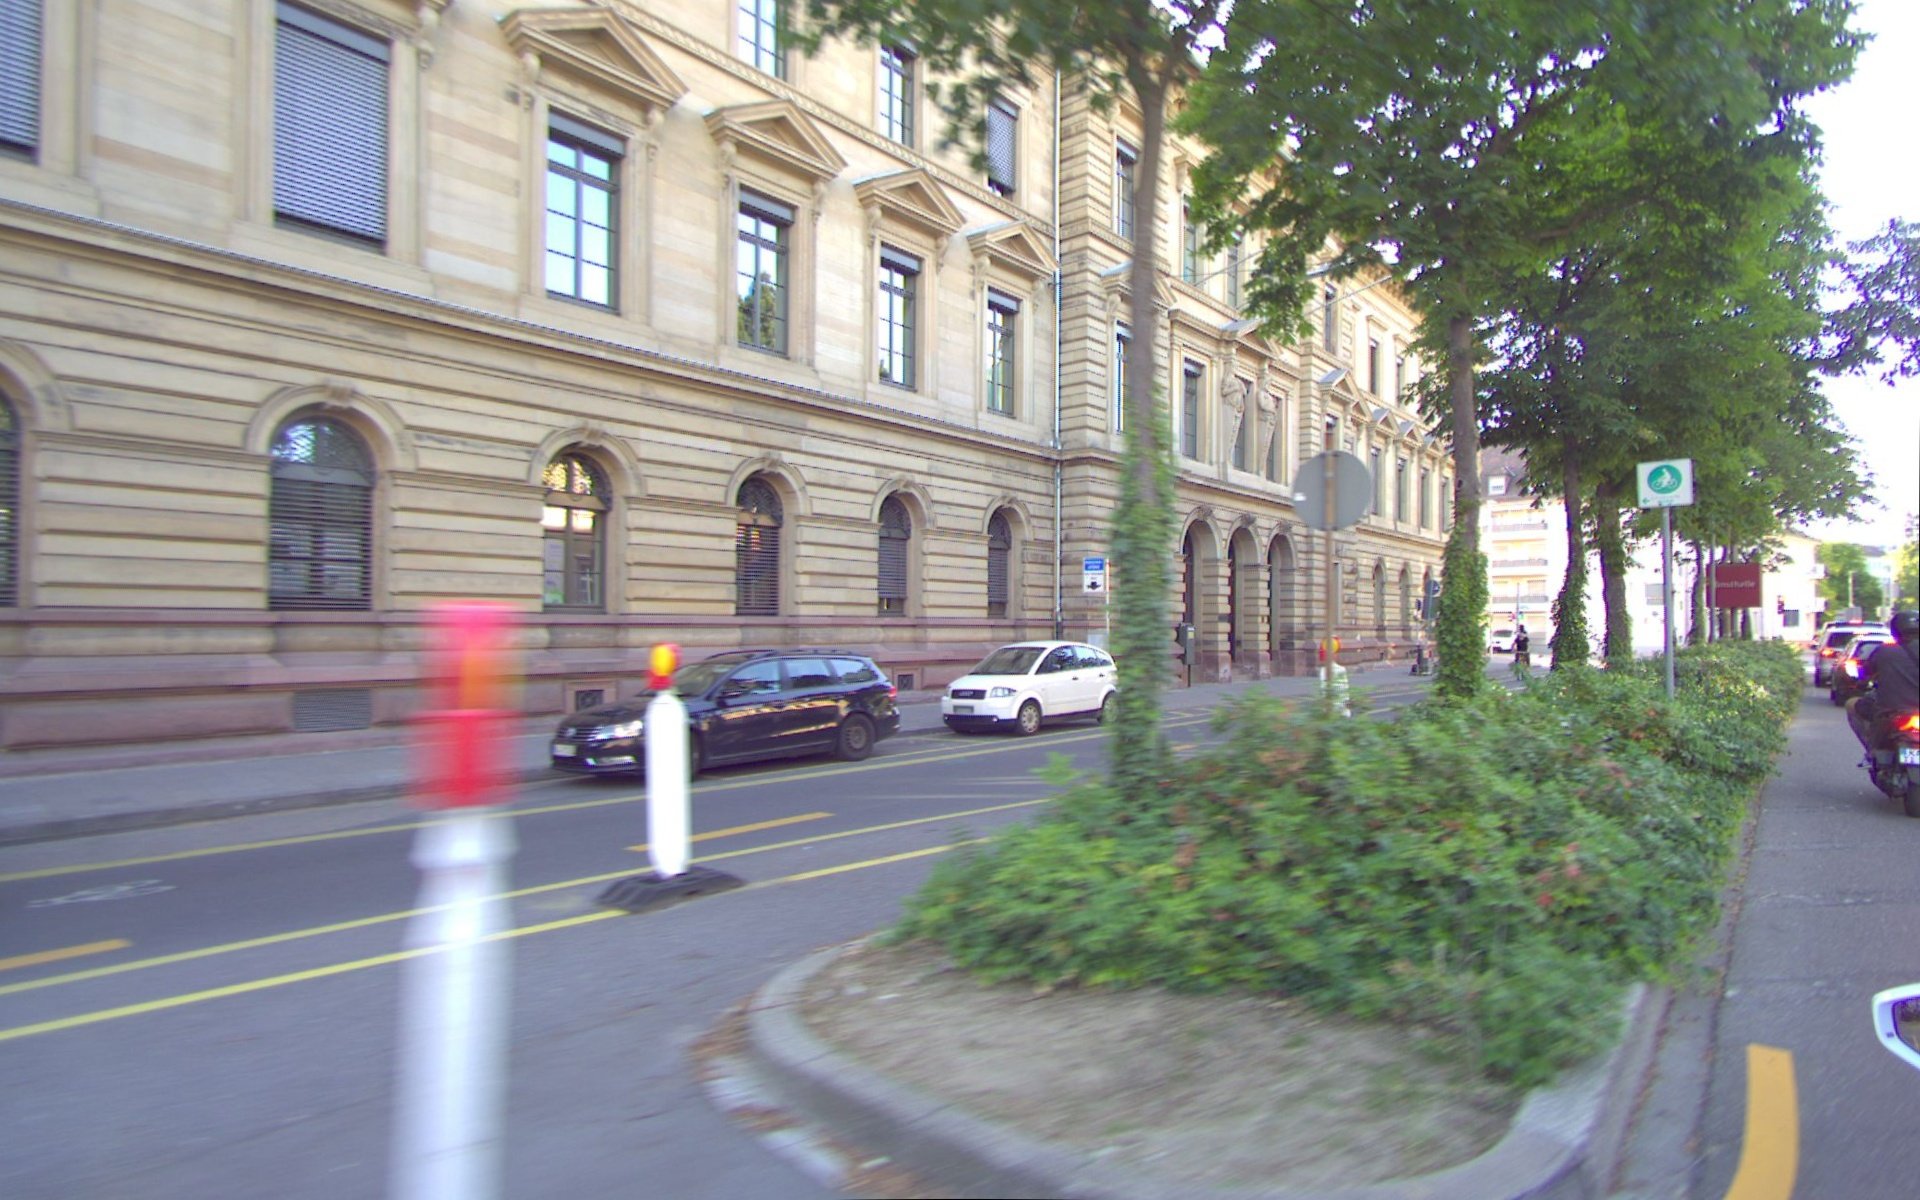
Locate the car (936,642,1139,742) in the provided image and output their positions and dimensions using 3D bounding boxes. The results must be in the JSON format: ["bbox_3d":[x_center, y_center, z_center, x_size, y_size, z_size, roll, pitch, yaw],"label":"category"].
[{"bbox_3d":[1.464,1.530,17.832,1.649,1.527,3.826,-1,-2,41],"label":"car"}]

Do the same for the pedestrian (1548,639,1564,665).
[{"bbox_3d":[37.260,3.243,62.831,0.813,1.605,0.625,1,1,-45],"label":"pedestrian"}]

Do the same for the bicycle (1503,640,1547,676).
[{"bbox_3d":[20.077,2.052,35.669,0.871,1.209,2.163,-5,-5,42],"label":"bicycle"}]

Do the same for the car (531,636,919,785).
[{"bbox_3d":[-2.804,1.260,12.849,1.859,1.527,4.619,-4,-4,42],"label":"car"}]

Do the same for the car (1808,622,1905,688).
[{"bbox_3d":[26.309,1.554,29.510,1.969,1.772,4.722,-1,-2,42],"label":"car"}]

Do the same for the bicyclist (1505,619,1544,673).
[{"bbox_3d":[20.029,1.639,35.630,0.871,1.858,1.279,-5,-5,42],"label":"bicyclist"}]

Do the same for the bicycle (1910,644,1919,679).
[{"bbox_3d":[33.597,2.139,34.892,0.820,1.158,1.957,0,-1,44],"label":"bicycle"}]

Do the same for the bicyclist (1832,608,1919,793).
[{"bbox_3d":[8.425,0.866,9.009,0.858,1.543,1.224,2,0,42],"label":"bicyclist"}]

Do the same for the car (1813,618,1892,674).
[{"bbox_3d":[32.911,1.689,37.107,2.045,1.940,5.008,-1,-3,41],"label":"car"}]

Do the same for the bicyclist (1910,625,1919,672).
[{"bbox_3d":[33.549,1.690,34.866,0.795,1.629,0.820,-1,-2,45],"label":"bicyclist"}]

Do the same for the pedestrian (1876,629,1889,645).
[{"bbox_3d":[110.666,4.420,120.497,0.991,1.875,0.851,1,-2,-33],"label":"pedestrian"}]

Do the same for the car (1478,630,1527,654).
[{"bbox_3d":[40.100,3.094,74.172,1.973,1.708,4.585,-1,-2,45],"label":"car"}]

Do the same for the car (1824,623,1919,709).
[{"bbox_3d":[19.872,1.351,21.503,1.970,1.679,4.715,-1,-2,39],"label":"car"}]

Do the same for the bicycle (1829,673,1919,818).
[{"bbox_3d":[8.375,1.242,8.989,0.860,1.056,2.441,1,-1,42],"label":"bicycle"}]
